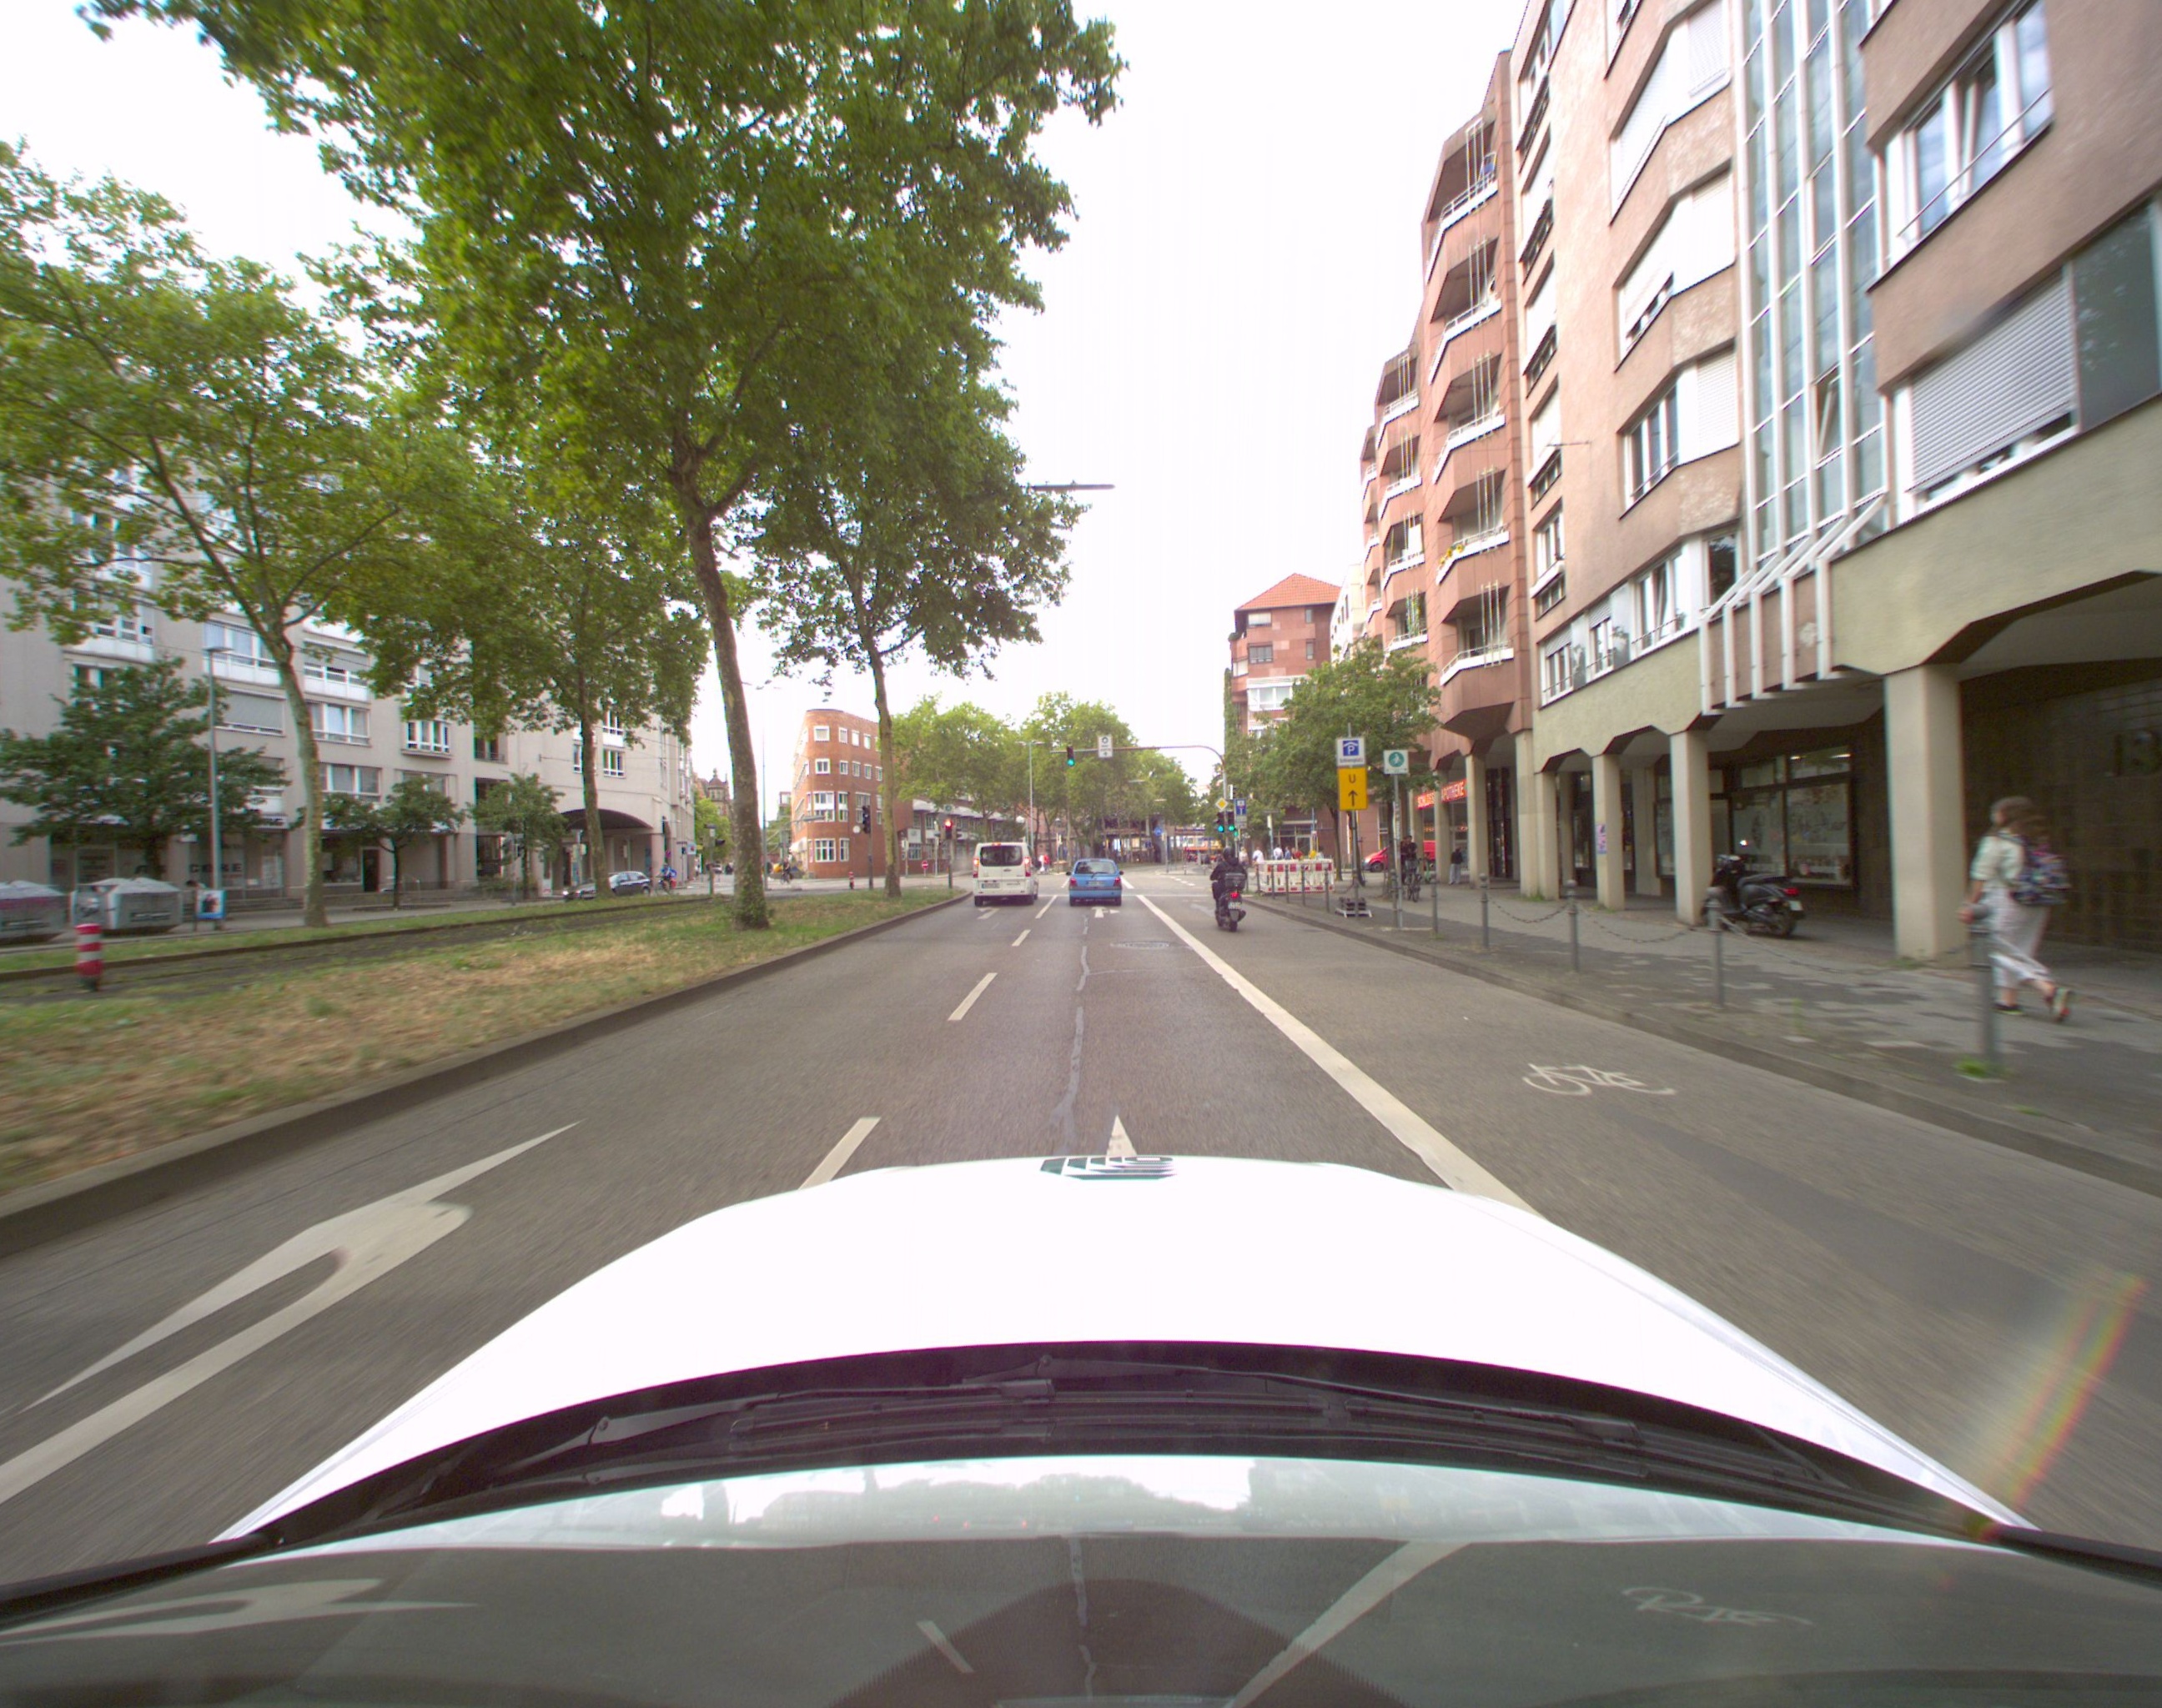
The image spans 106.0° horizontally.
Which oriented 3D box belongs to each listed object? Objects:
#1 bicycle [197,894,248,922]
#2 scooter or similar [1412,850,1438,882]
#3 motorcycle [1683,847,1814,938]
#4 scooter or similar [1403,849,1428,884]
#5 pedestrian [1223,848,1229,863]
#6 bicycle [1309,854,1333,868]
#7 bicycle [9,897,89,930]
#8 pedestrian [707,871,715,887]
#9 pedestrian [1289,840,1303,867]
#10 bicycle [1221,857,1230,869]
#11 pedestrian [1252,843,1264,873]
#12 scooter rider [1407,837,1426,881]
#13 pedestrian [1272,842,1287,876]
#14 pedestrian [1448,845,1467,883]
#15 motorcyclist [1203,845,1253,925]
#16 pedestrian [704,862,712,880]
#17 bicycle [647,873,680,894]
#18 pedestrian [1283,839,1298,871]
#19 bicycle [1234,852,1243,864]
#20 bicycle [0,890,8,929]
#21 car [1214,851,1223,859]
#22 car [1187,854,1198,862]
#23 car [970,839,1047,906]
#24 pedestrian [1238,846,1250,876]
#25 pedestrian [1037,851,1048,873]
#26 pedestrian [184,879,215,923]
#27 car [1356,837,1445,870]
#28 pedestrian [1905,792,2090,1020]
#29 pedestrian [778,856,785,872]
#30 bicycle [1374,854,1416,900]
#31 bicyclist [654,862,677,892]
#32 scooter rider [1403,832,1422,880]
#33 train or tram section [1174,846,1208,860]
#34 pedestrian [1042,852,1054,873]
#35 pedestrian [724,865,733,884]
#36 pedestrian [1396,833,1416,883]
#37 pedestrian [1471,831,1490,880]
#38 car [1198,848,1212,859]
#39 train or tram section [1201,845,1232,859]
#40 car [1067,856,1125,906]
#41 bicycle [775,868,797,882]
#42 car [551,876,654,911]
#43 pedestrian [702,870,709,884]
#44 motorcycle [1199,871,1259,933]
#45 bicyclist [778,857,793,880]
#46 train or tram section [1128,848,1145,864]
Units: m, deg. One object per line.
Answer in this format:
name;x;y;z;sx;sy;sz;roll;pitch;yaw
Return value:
bicycle;-30.241;1.894;28.683;1.616;0.943;0.442;-2;0;12
scooter or similar;12.834;0.428;30.420;0.550;1.170;1.410;-2;0;10
motorcycle;9.547;0.510;11.746;0.612;1.156;1.910;-3;0;12
scooter or similar;12.029;0.432;29.320;0.471;1.206;1.333;-2;0;8
pedestrian;18.209;0.218;102.426;0.642;1.859;0.785;-2;0;11
bicycle;18.891;0.558;64.009;1.720;1.008;0.479;-2;-1;7
bicycle;-34.226;1.964;27.034;0.436;0.943;1.637;-2;0;9
pedestrian;-48.521;3.261;106.903;0.867;2.013;1.333;-2;0;-23
pedestrian;12.629;-0.051;47.804;0.672;1.538;0.949;-2;0;8
bicycle;12.803;0.768;72.103;0.614;1.008;1.738;-2;0;7
pedestrian;9.675;0.231;44.605;0.514;1.616;0.852;-2;0;7
scooter rider;11.976;0.169;29.042;0.458;1.557;0.566;-2;0;9
pedestrian;11.004;0.283;45.166;0.672;1.828;0.852;-2;0;7
pedestrian;13.230;0.339;28.631;0.483;1.324;0.487;-2;0;15
motorcyclist;2.916;0.607;16.280;0.757;1.519;1.017;-2;-1;0
pedestrian;-34.598;1.550;75.543;0.677;1.679;0.746;-2;0;-27
bicycle;-23.897;1.698;46.659;0.687;1.092;1.881;-2;0;8
pedestrian;11.614;0.046;45.211;0.648;1.701;1.024;-2;0;9
bicycle;13.817;0.321;71.442;0.614;1.008;1.738;-2;0;7
bicycle;-34.452;1.769;24.952;0.530;1.212;1.844;-2;0;8
car;30.095;0.273;178.741;1.687;1.601;4.014;-2;0;13
car;24.843;0.913;181.164;1.873;1.624;4.014;-2;0;13
car;-2.271;0.527;26.756;1.925;1.925;4.956;-2;0;1
pedestrian;8.960;0.376;44.747;0.514;1.616;0.852;-2;0;6
pedestrian;-3.053;0.668;64.573;0.548;1.718;0.895;-2;-1;18
pedestrian;-31.425;1.678;29.044;0.510;1.530;0.535;-2;0;9
car;19.554;0.013;50.065;4.793;1.826;2.007;-2;-2;13
pedestrian;7.092;0.378;6.347;0.540;1.650;0.828;-2;0;13
pedestrian;-35.185;1.193;95.793;0.696;1.817;0.650;-2;-1;-26
bicycle;8.175;0.585;21.276;0.609;1.118;1.809;-2;0;8
bicyclist;-23.890;1.314;46.819;0.686;1.672;0.955;-2;0;8
scooter rider;12.050;0.085;29.589;0.460;1.720;0.554;-2;0;7
train or tram section;27.988;-0.165;206.659;8.848;3.254;2.373;-2;-1;-32
pedestrian;-2.674;0.669;65.480;0.547;1.718;0.896;-2;-1;27
pedestrian;-38.582;2.221;89.105;0.793;1.963;0.799;-2;0;-24
pedestrian;12.134;0.148;30.409;0.548;1.799;0.660;-2;0;12
pedestrian;15.091;0.056;30.778;0.546;1.799;0.662;-2;0;31
car;18.671;-0.065;122.607;1.687;1.601;4.014;-2;0;13
train or tram section;35.239;-0.474;211.202;8.389;3.254;2.372;-2;-1;-32
car;0.489;0.774;25.540;1.634;1.386;3.844;-1;0;1
bicycle;-23.620;1.670;65.268;0.674;1.093;2.213;-3;0;6
car;-20.789;1.667;35.623;1.724;1.245;4.534;-2;0;0
pedestrian;-43.761;2.662;94.910;0.696;1.671;0.824;-2;-1;-26
motorcycle;2.932;0.921;16.336;0.765;1.107;2.208;-2;0;0
bicyclist;-23.641;1.157;65.234;0.663;1.848;1.083;-3;0;5
train or tram section;11.760;0.460;171.466;2.373;3.254;8.846;-2;-1;12
